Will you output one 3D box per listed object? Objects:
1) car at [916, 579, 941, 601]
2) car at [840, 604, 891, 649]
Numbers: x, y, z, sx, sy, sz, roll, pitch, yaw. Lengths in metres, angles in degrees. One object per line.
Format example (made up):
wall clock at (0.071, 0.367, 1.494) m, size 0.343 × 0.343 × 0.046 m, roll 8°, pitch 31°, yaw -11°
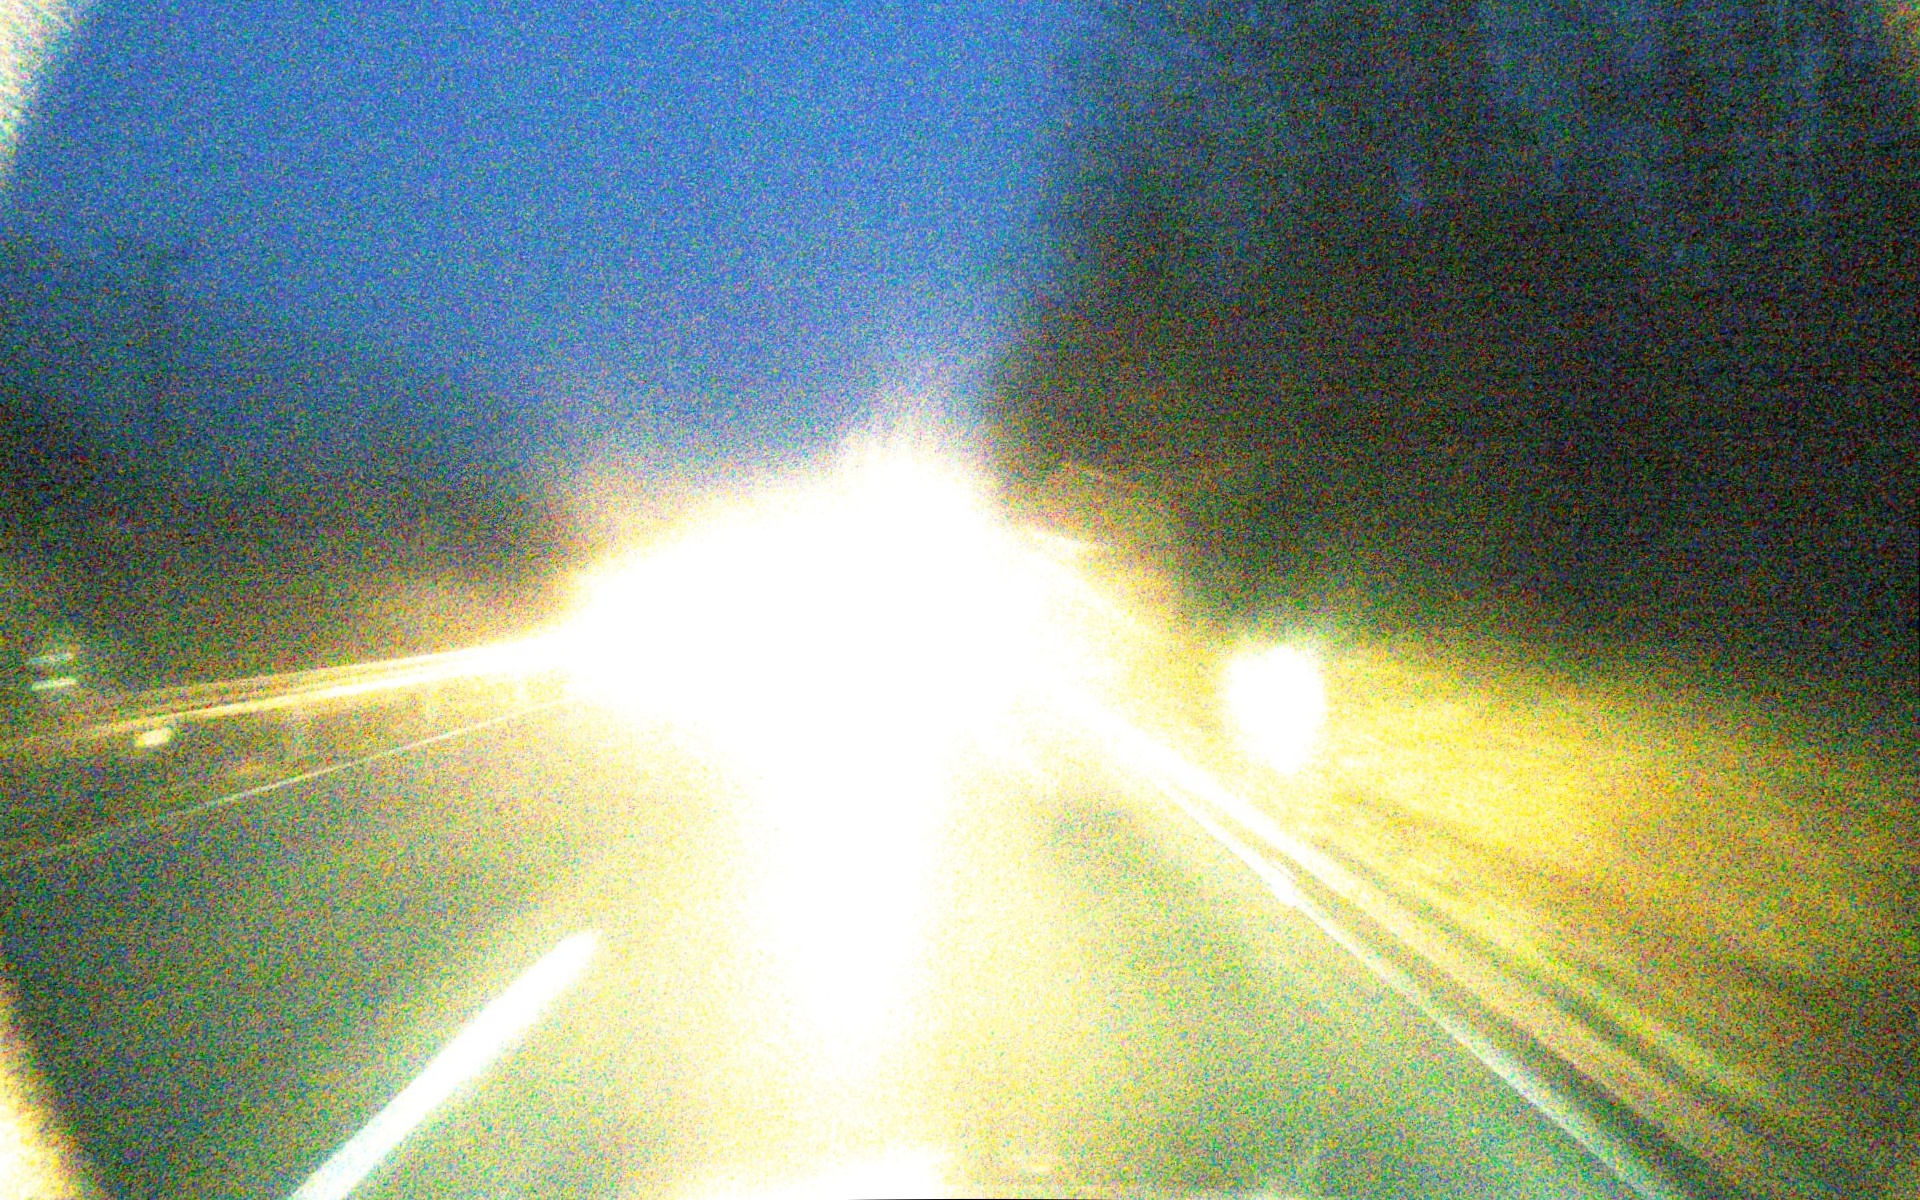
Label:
car at (-2.579, -0.819, 135.976) m, size 1.953 × 1.695 × 3.999 m, roll 1°, pitch 0°, yaw -1°
car at (-4.052, 1.107, 71.350) m, size 1.953 × 1.856 × 4.562 m, roll 1°, pitch 0°, yaw -1°
